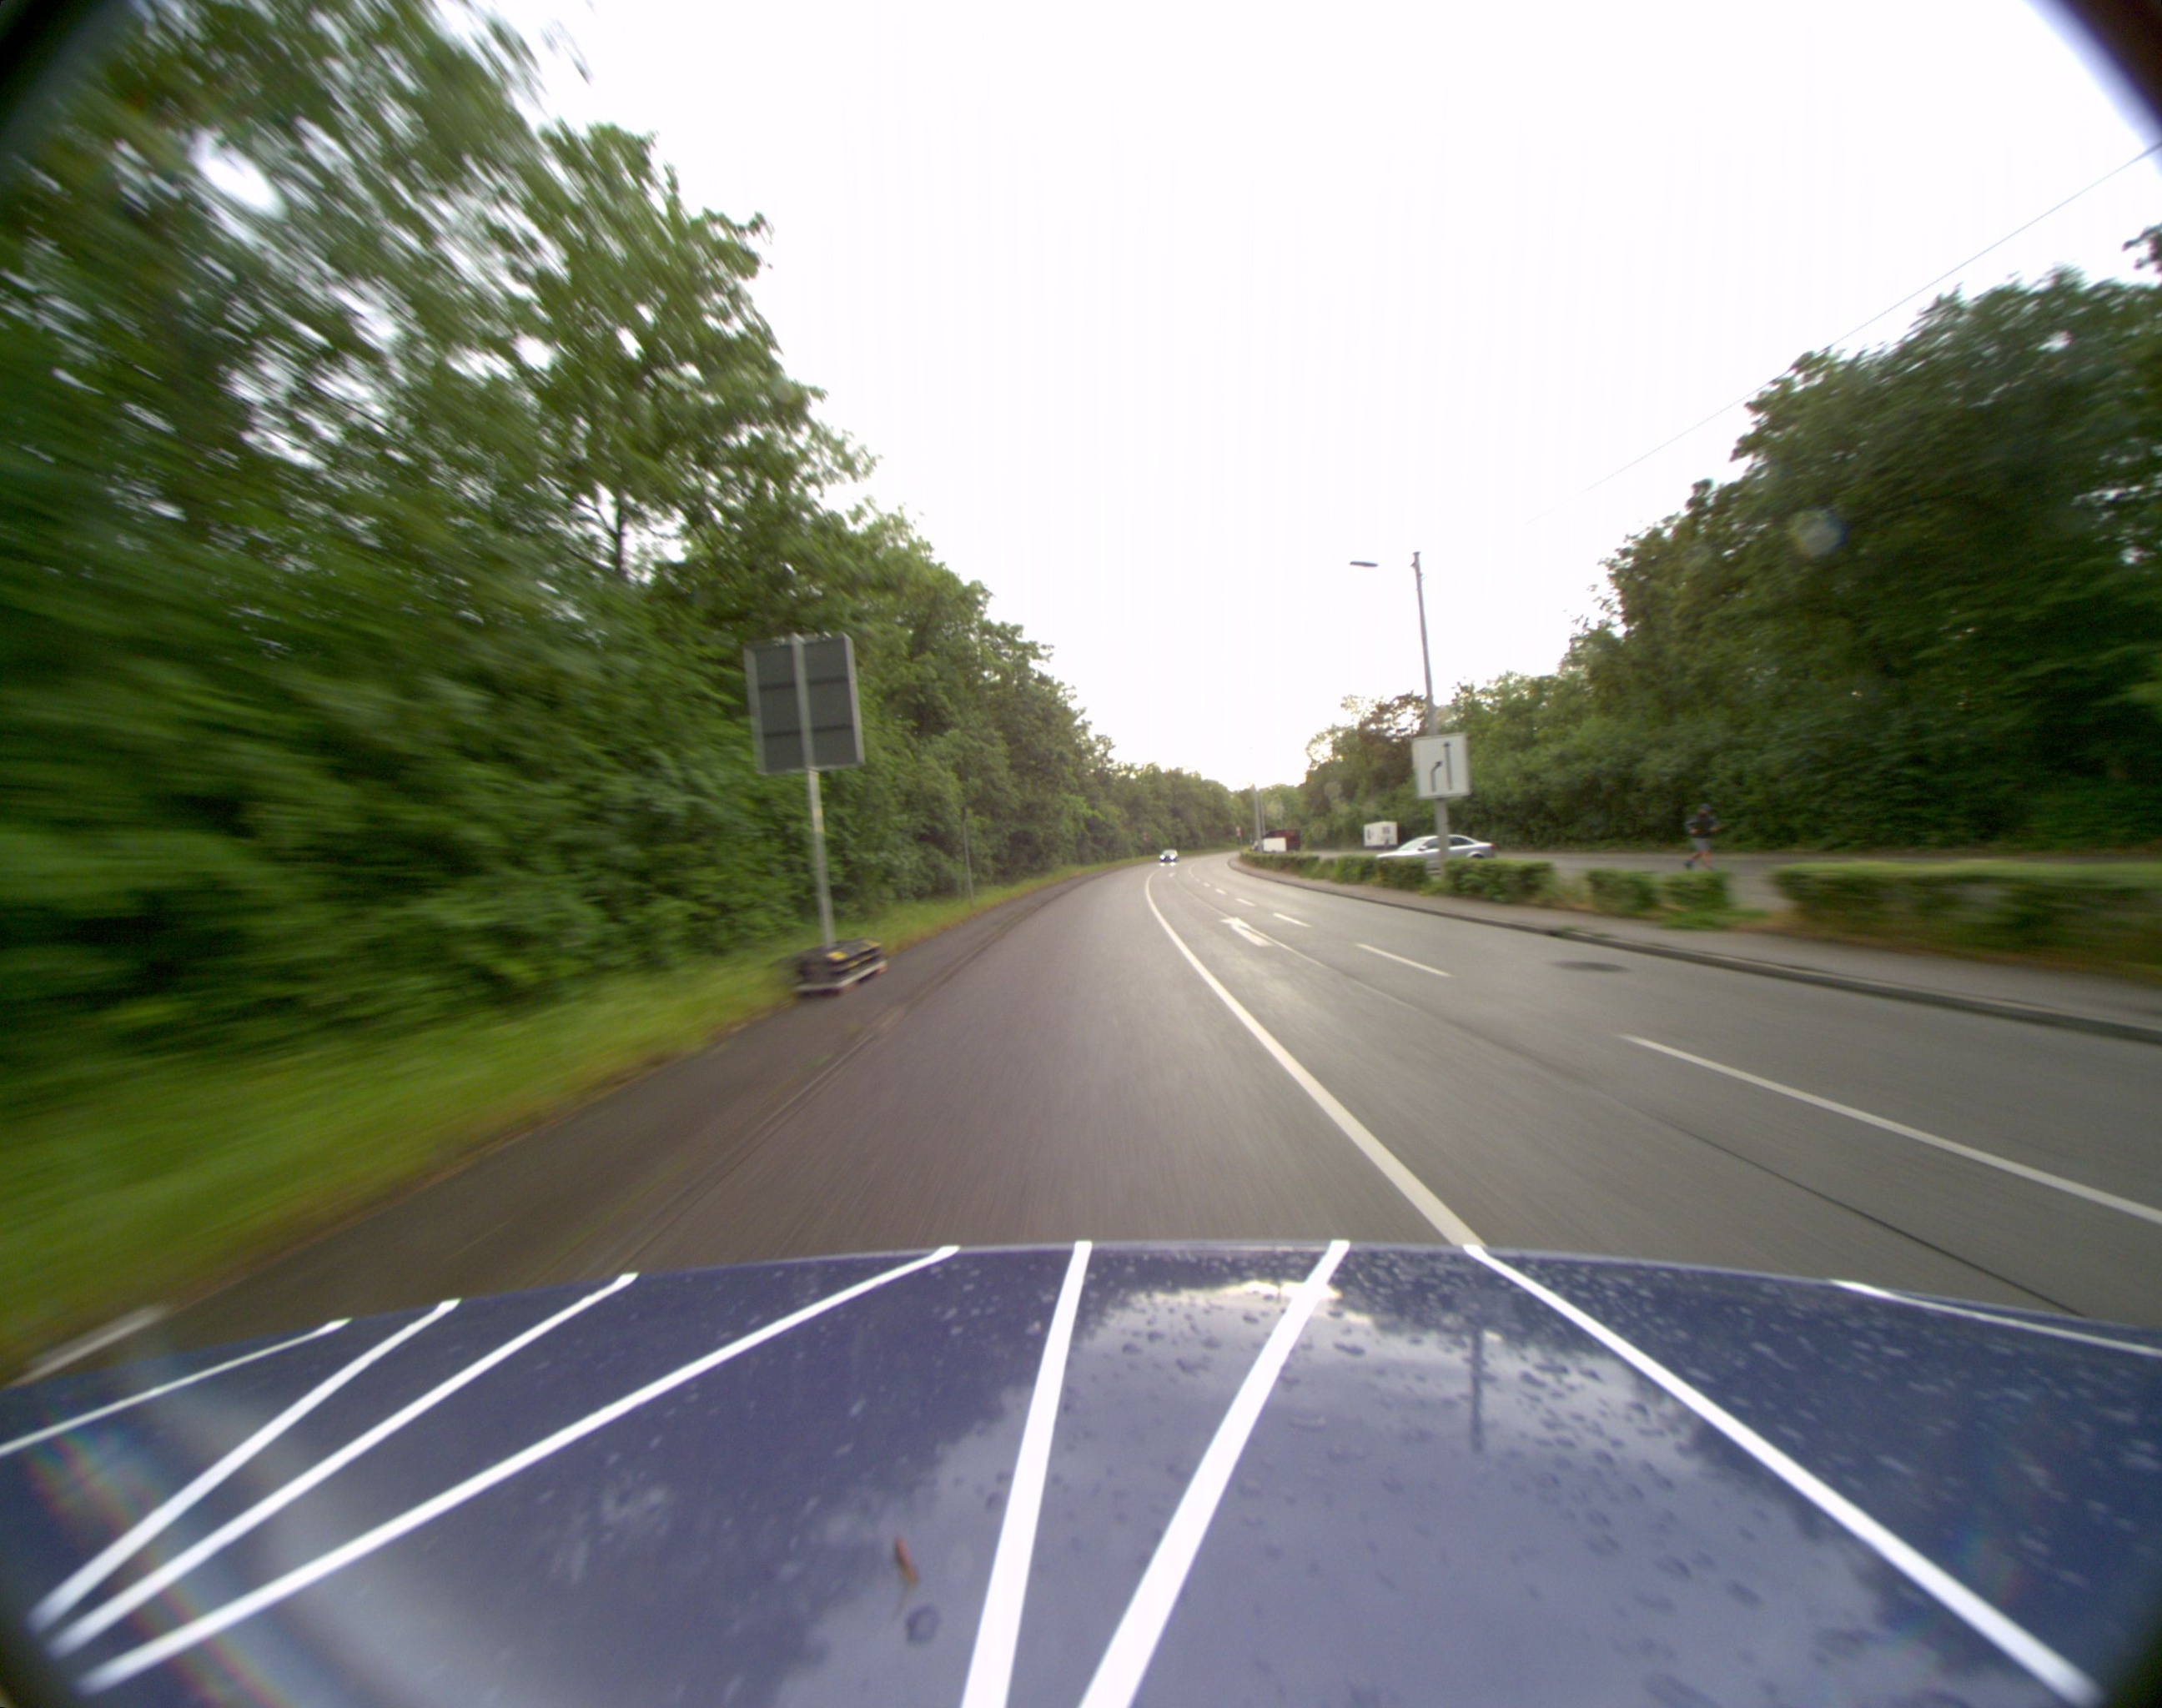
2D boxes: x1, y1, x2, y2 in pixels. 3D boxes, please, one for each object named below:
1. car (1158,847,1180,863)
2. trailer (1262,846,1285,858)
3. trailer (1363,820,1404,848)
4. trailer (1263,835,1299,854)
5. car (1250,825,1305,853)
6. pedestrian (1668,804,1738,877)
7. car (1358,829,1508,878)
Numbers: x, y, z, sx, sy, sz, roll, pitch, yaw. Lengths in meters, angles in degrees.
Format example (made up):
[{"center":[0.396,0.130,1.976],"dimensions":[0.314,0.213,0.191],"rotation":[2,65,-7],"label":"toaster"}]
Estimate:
[{"center":[10.255,0.096,88.102],"dimensions":[1.996,1.674,4.003],"rotation":[-2,1,14],"label":"car"},{"center":[17.624,-0.212,69.626],"dimensions":[1.804,1.028,1.334],"rotation":[-3,1,7],"label":"trailer"},{"center":[32.476,-2.128,81.819],"dimensions":[2.480,2.857,7.982],"rotation":[-2,1,10],"label":"trailer"},{"center":[23.477,-1.166,89.484],"dimensions":[3.993,2.041,1.874],"rotation":[-2,1,13],"label":"trailer"},{"center":[24.482,-1.873,94.821],"dimensions":[6.283,3.096,2.753],"rotation":[-3,2,11],"label":"car"},{"center":[16.023,-0.331,19.604],"dimensions":[0.819,1.787,1.135],"rotation":[-3,1,-1],"label":"pedestrian"},{"center":[13.012,-0.018,28.268],"dimensions":[4.587,1.497,2.000],"rotation":[-3,1,-1],"label":"car"}]
